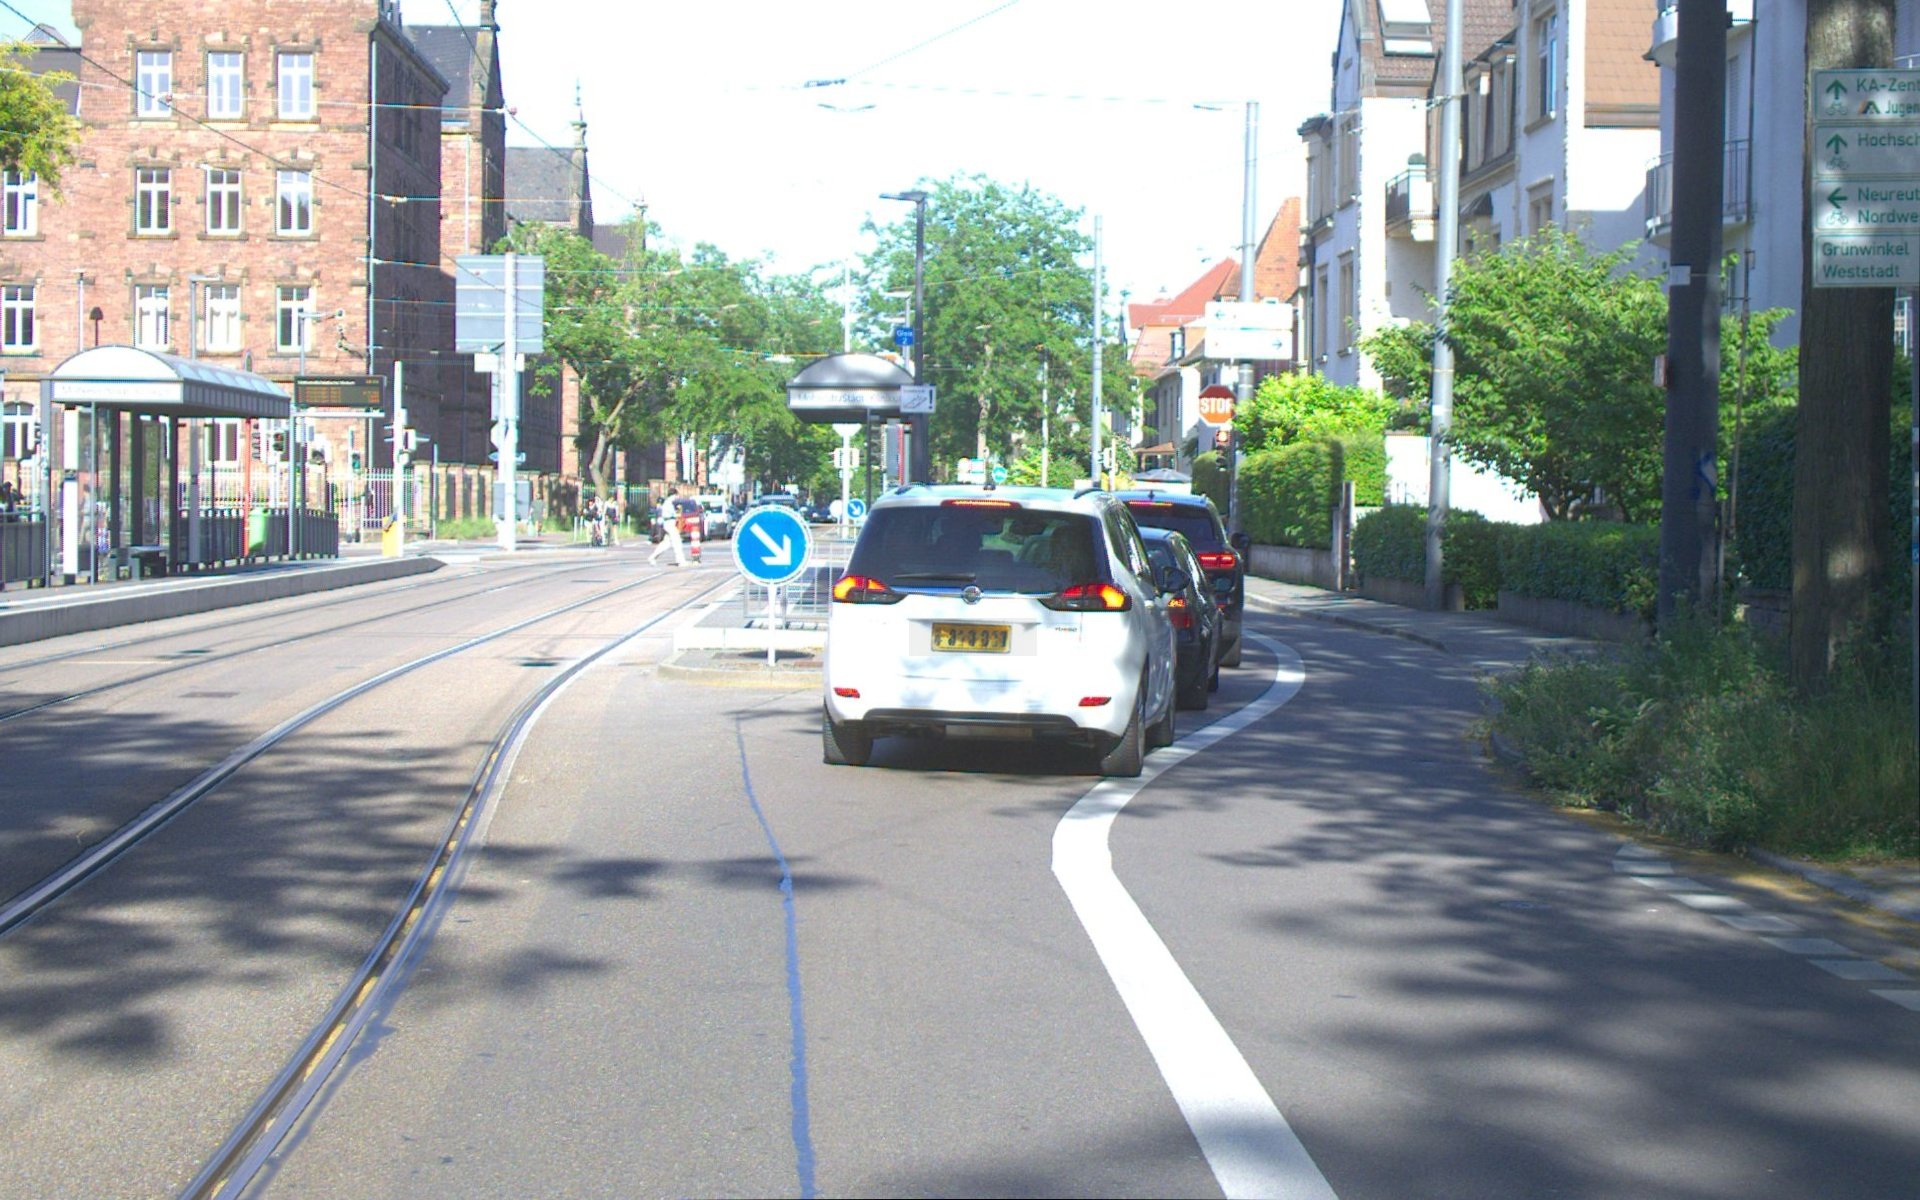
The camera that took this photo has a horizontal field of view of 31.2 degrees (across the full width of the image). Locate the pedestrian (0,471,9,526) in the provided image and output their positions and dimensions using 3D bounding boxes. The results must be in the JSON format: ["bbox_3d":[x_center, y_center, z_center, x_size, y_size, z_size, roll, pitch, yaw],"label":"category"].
[{"bbox_3d":[-21.847,-2.293,77.682,0.558,1.255,0.530,1,1,-1],"label":"pedestrian"}]

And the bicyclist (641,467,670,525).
[{"bbox_3d":[-10.535,-3.594,118.870,0.950,2.007,0.824,1,1,-4],"label":"bicyclist"}]

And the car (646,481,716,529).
[{"bbox_3d":[-10.311,-3.518,127.116,1.994,1.716,4.000,1,2,4],"label":"car"}]

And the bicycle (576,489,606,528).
[{"bbox_3d":[-12.448,-3.083,116.060,0.821,1.292,2.678,1,2,-2],"label":"bicycle"}]

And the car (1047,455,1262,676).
[{"bbox_3d":[1.951,-0.371,33.505,1.709,2.007,3.905,1,2,9],"label":"car"}]

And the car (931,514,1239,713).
[{"bbox_3d":[1.074,0.046,27.396,1.994,1.437,3.999,1,2,9],"label":"car"}]

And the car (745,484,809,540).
[{"bbox_3d":[-6.394,-3.079,120.523,1.993,1.907,4.000,1,1,0],"label":"car"}]

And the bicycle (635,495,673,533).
[{"bbox_3d":[-10.575,-2.977,118.891,1.148,1.292,2.861,1,2,-2],"label":"bicycle"}]

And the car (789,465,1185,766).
[{"bbox_3d":[0.279,0.091,20.753,1.893,1.605,4.227,1,0,7],"label":"car"}]

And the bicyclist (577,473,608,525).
[{"bbox_3d":[-12.438,-3.416,116.340,0.943,1.728,0.861,1,1,-1],"label":"bicyclist"}]

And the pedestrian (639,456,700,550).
[{"bbox_3d":[-6.287,-2.096,74.481,1.155,2.006,1.119,1,2,4],"label":"pedestrian"}]
